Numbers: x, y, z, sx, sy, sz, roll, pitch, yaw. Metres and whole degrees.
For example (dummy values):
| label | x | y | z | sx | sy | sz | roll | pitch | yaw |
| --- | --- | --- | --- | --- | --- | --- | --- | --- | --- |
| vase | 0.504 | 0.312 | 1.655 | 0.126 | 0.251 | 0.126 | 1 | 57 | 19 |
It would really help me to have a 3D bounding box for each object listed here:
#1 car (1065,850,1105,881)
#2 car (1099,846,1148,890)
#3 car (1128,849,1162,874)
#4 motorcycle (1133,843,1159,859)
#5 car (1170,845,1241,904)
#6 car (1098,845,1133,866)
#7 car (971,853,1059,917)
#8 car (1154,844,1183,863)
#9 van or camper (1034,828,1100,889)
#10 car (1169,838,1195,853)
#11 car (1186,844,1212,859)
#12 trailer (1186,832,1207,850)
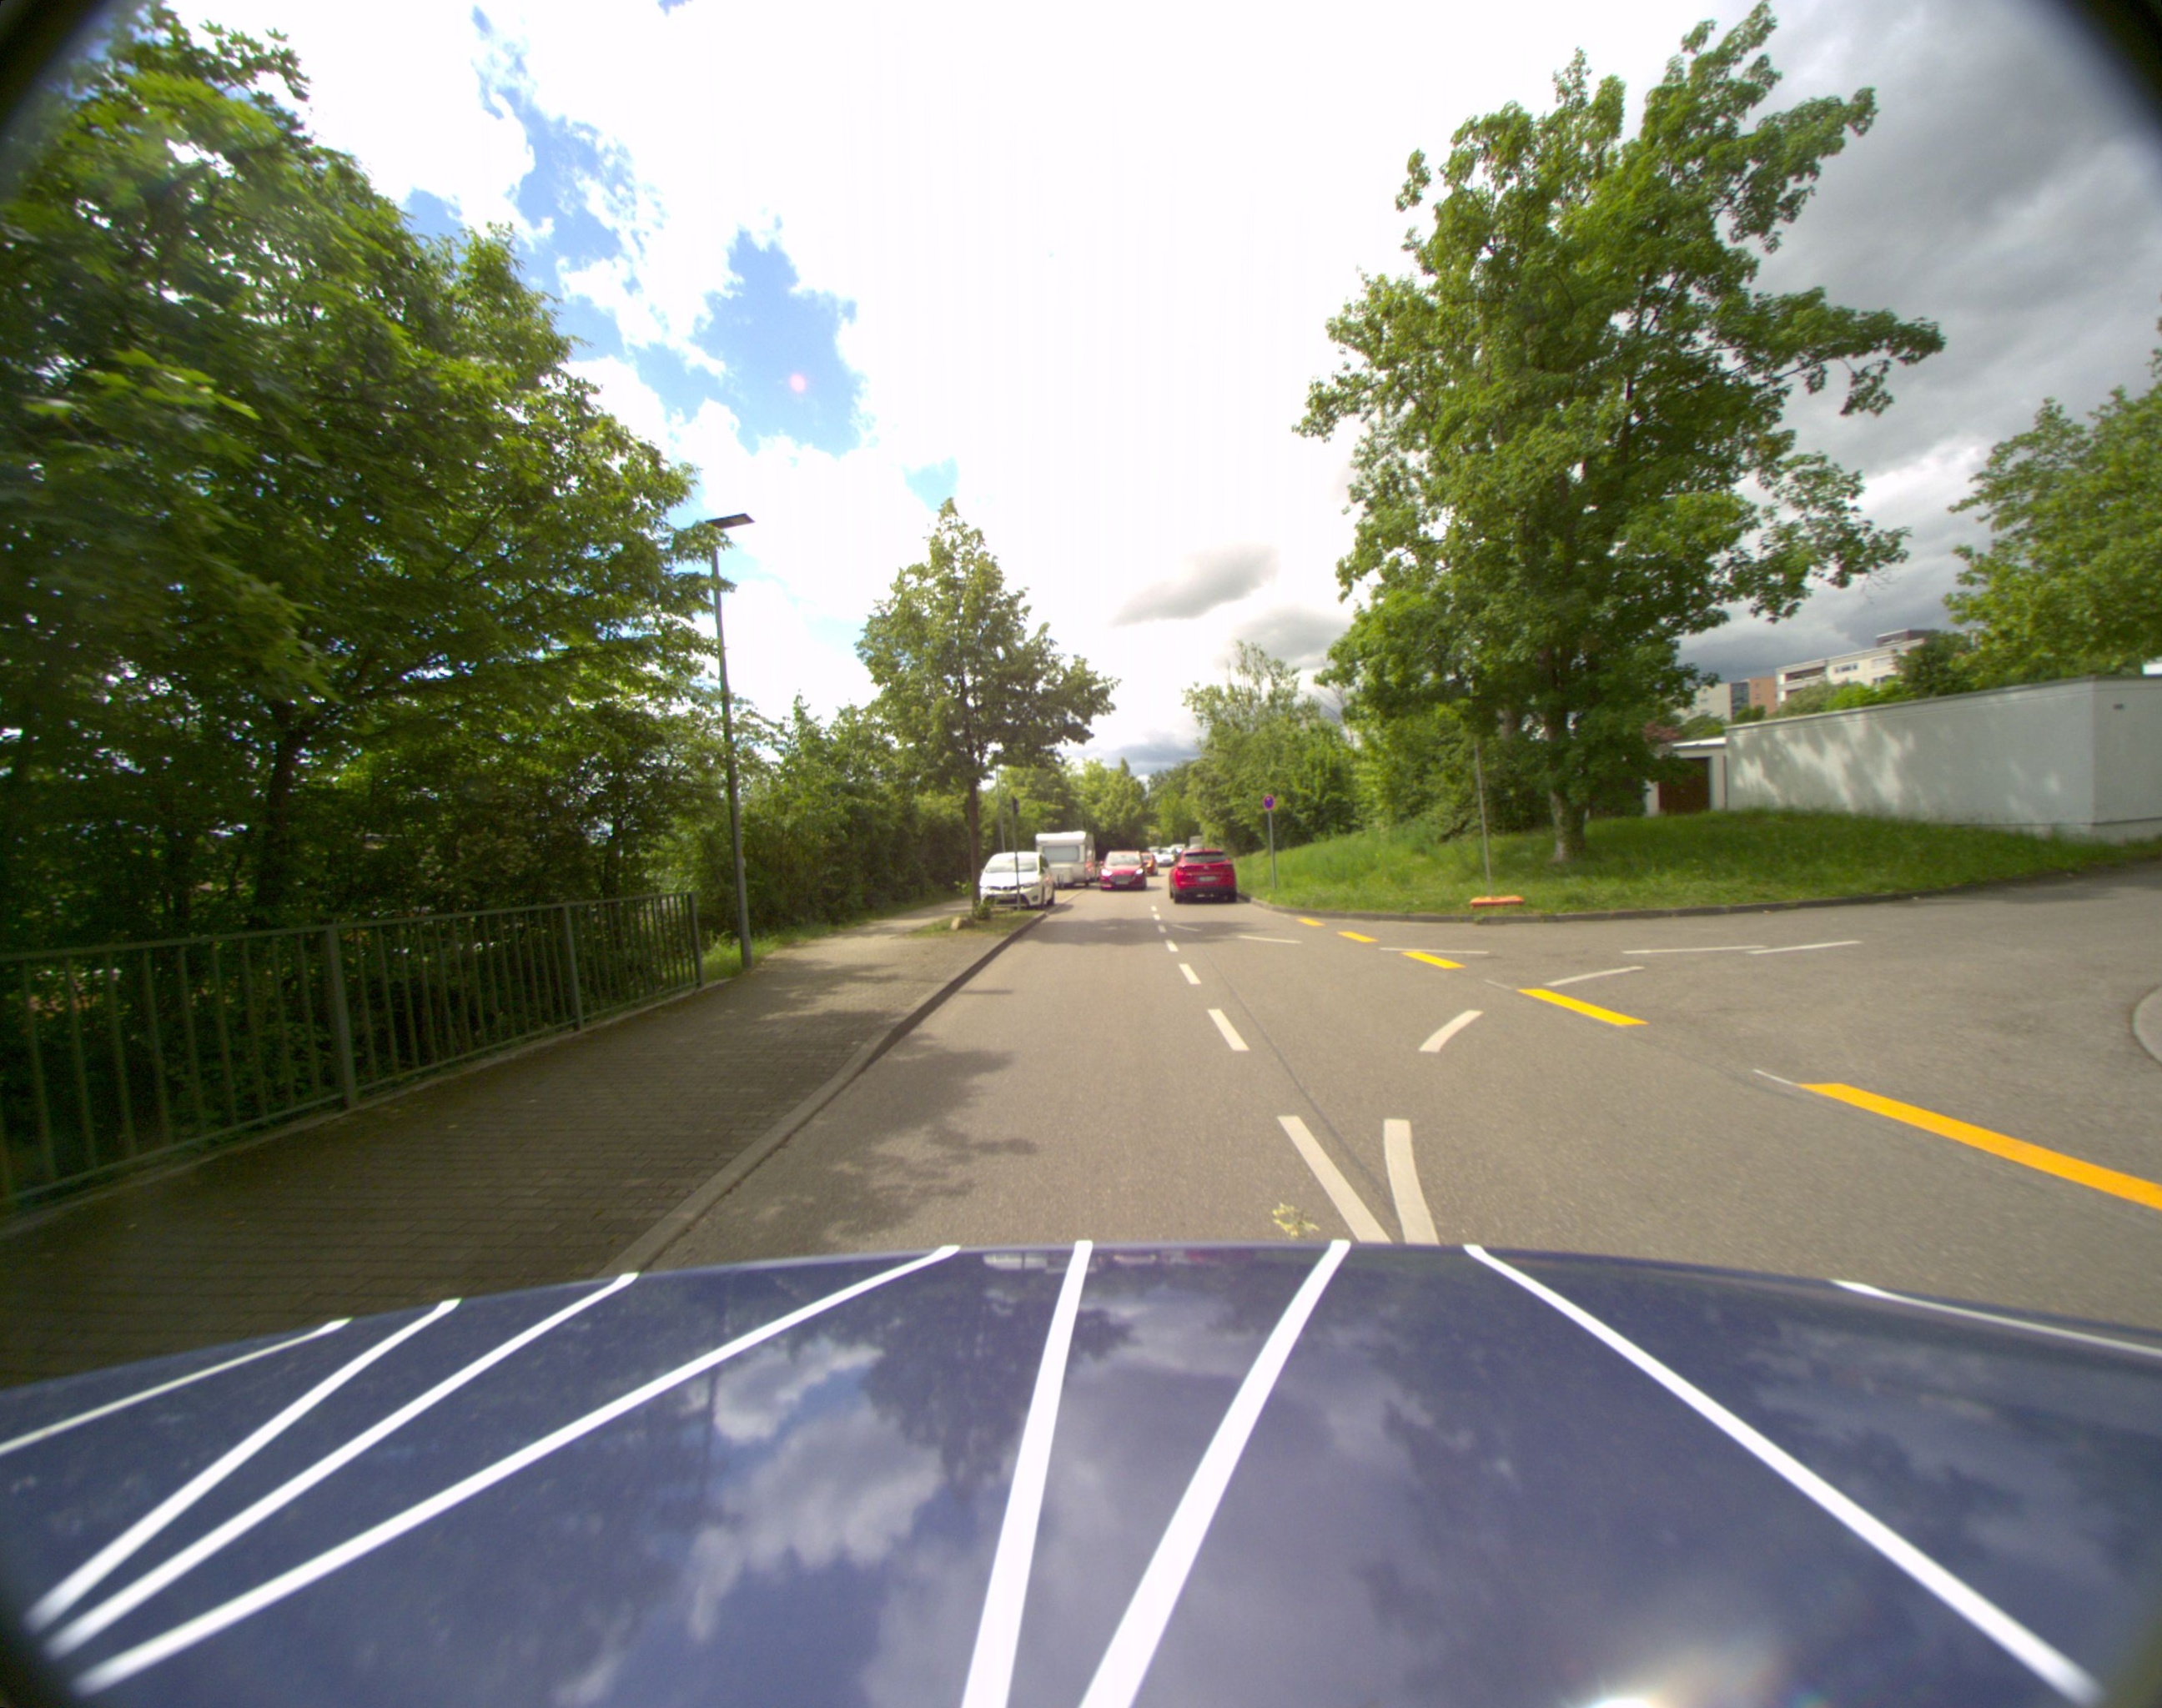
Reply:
| label | x | y | z | sx | sy | sz | roll | pitch | yaw |
| --- | --- | --- | --- | --- | --- | --- | --- | --- | --- |
| car | 0.267 | 0.569 | 41.352 | 1.685 | 1.442 | 4.481 | -3 | 1 | 6 |
| car | 1.898 | 0.543 | 32.765 | 1.911 | 1.689 | 4.388 | -1 | 1 | 5 |
| car | 4.112 | 0.433 | 48.587 | 1.794 | 1.405 | 4.115 | -2 | 1 | 9 |
| motorcycle | 6.162 | -0.295 | 71.843 | 2.306 | 1.468 | 0.977 | 1 | 4 | 42 |
| car | 3.844 | 0.584 | 24.083 | 1.847 | 1.649 | 4.223 | -3 | 0 | 5 |
| car | 2.803 | 0.083 | 60.135 | 1.896 | 1.521 | 4.550 | -2 | 1 | 13 |
| car | -1.768 | 0.801 | 21.737 | 1.809 | 1.590 | 4.372 | -2 | 0 | 4 |
| car | 7.492 | -0.079 | 64.774 | 1.794 | 1.500 | 4.116 | 0 | 2 | 15 |
| van or camper | -0.525 | 0.144 | 34.479 | 2.359 | 2.539 | 5.075 | -1 | 1 | 6 |
| car | 11.550 | -0.972 | 86.757 | 1.864 | 1.469 | 4.907 | 0 | 2 | 20 |
| car | 12.733 | -0.332 | 81.734 | 1.793 | 1.500 | 4.119 | 1 | 2 | 22 |
| trailer | 14.397 | -1.678 | 94.555 | 1.731 | 2.067 | 3.787 | 0 | 4 | 24 |
